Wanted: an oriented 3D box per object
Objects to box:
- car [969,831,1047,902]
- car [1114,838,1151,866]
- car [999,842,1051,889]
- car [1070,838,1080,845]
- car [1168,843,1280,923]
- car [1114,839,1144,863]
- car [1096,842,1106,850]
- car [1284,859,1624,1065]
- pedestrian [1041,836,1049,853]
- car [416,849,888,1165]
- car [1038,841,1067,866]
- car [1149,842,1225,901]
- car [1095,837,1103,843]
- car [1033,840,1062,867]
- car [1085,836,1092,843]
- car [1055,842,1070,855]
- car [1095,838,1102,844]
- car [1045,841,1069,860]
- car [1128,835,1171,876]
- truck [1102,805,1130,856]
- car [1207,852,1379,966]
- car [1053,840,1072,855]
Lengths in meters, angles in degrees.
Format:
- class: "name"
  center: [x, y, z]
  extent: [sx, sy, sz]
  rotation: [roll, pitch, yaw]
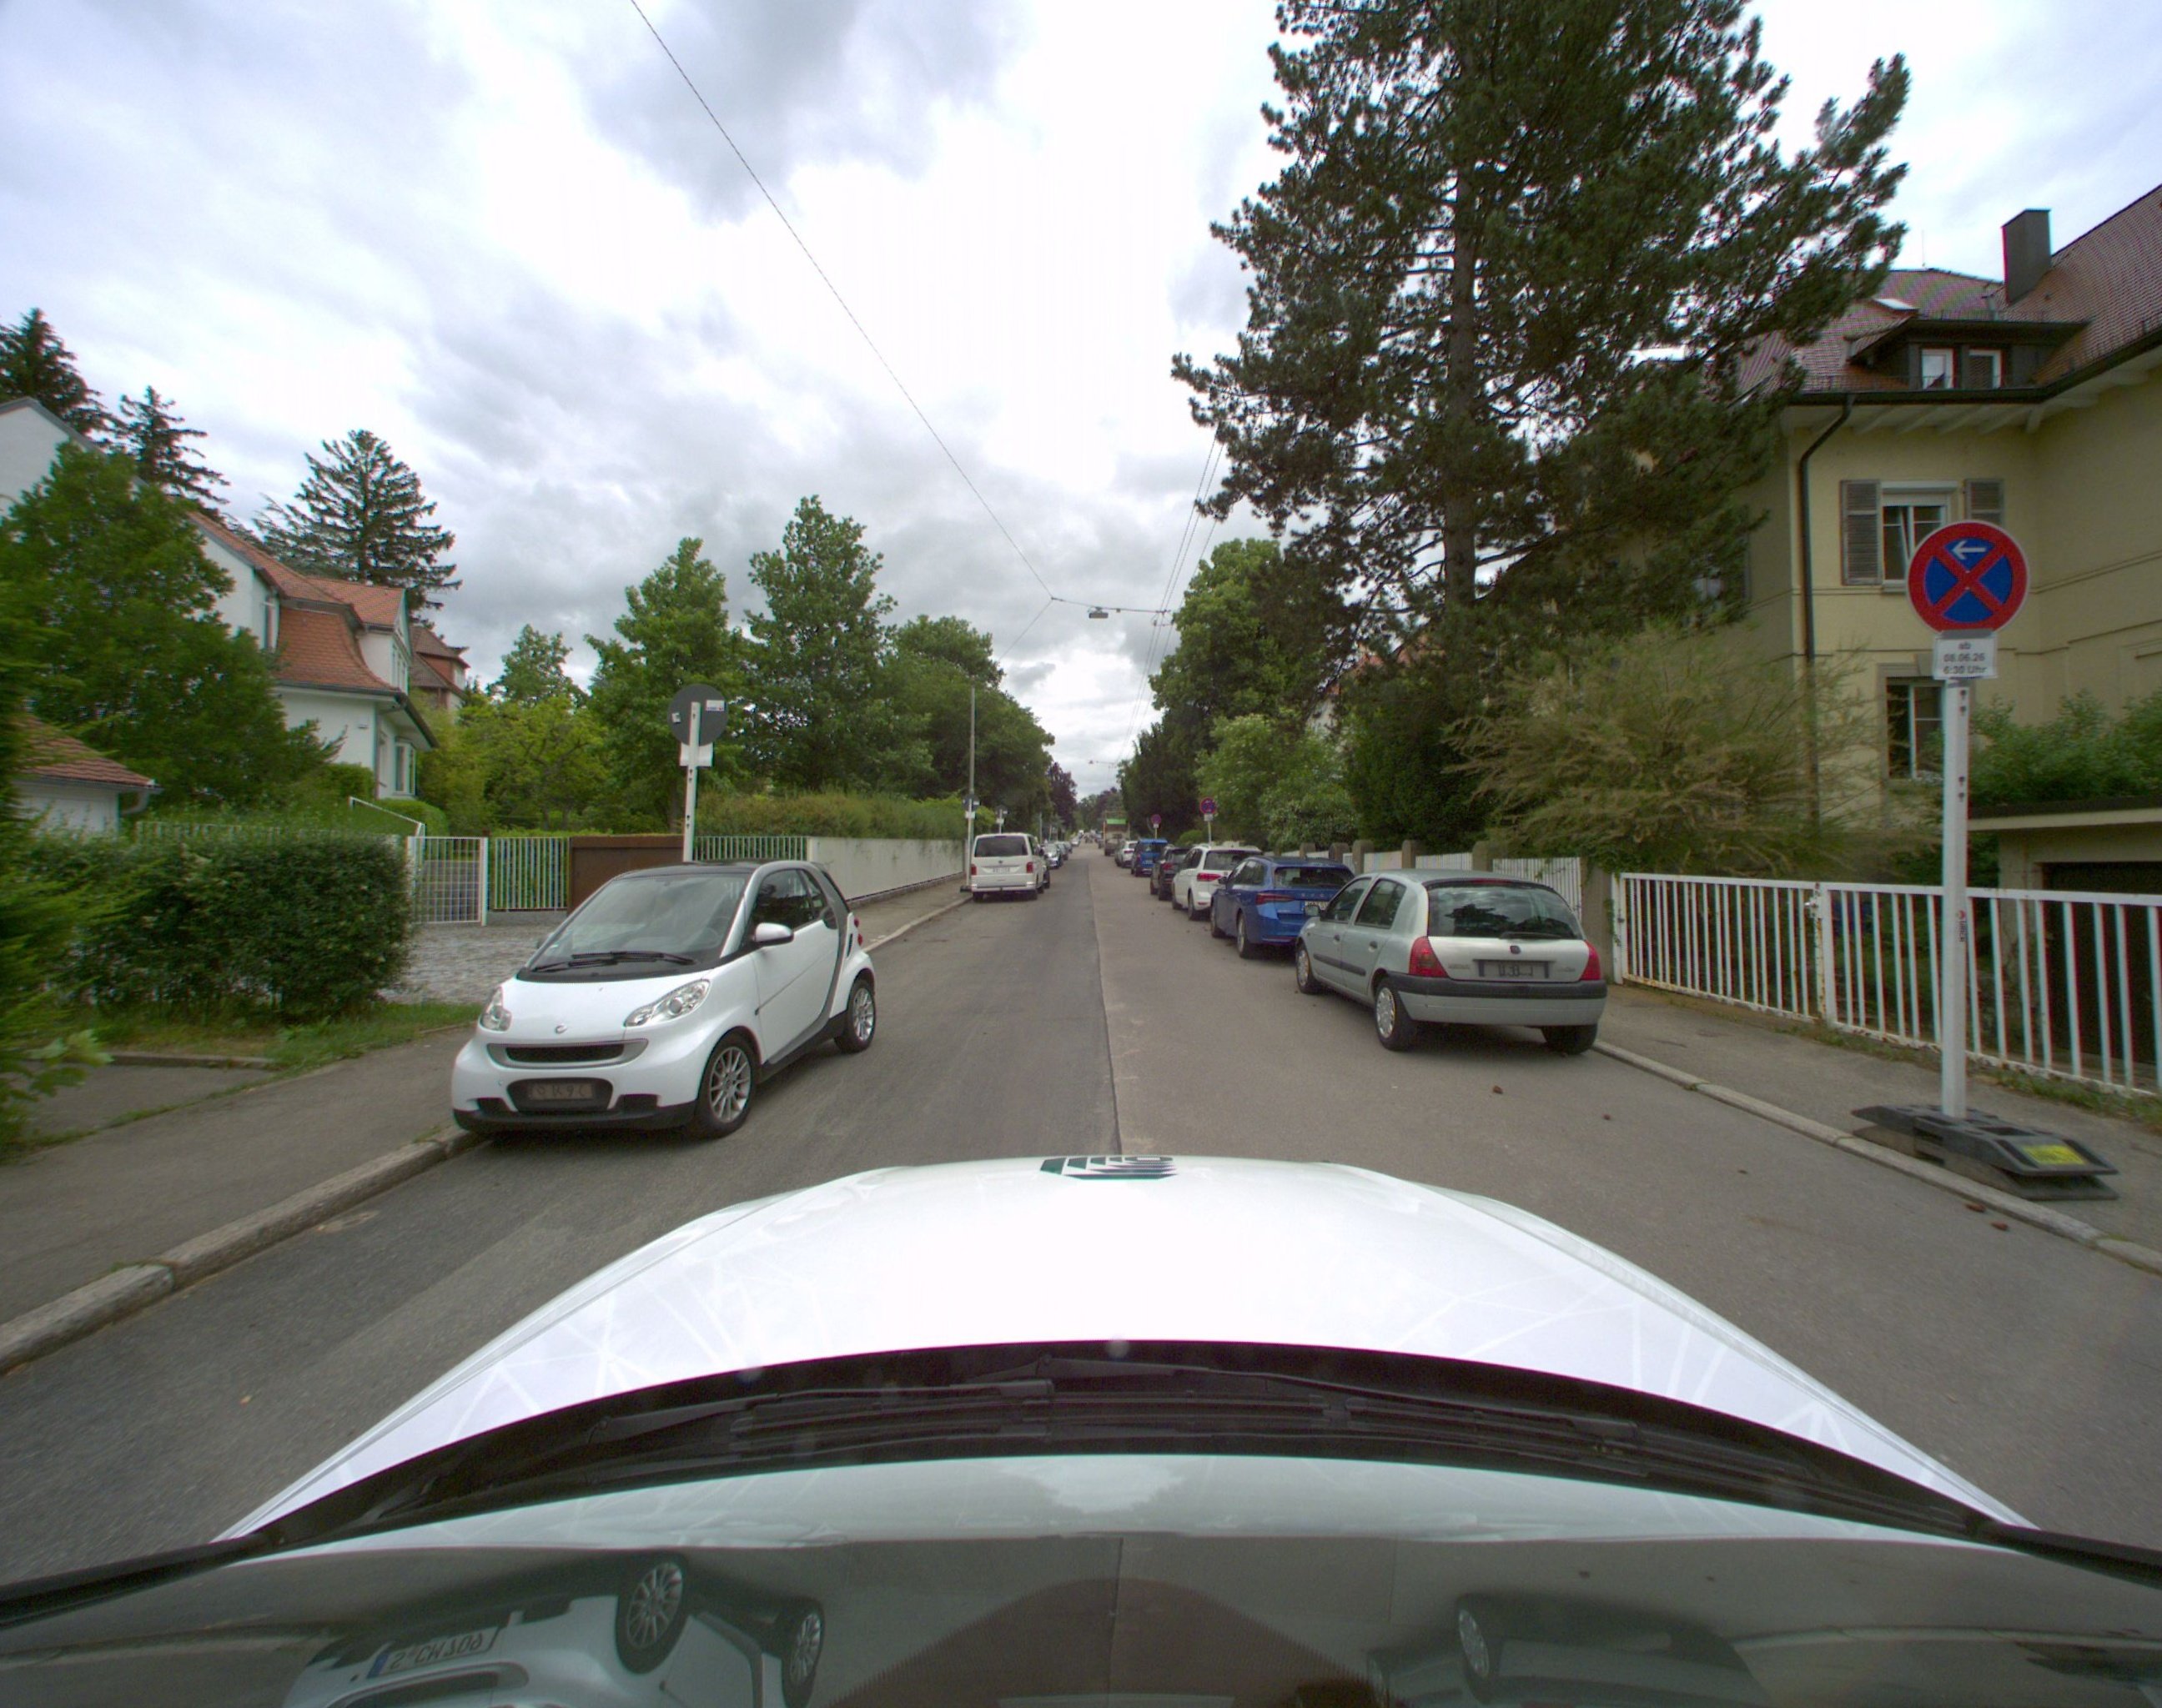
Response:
- class: "car"
  center: [-2.148, 0.327, 25.090]
  extent: [1.848, 1.913, 4.619]
  rotation: [-2, 0, 1]
- class: "car"
  center: [3.142, -0.144, 50.292]
  extent: [1.753, 1.606, 4.570]
  rotation: [1, 1, -3]
- class: "car"
  center: [-2.070, 0.374, 31.055]
  extent: [1.786, 1.623, 4.340]
  rotation: [-1, 1, -2]
- class: "car"
  center: [-1.269, -2.616, 170.749]
  extent: [1.704, 1.586, 4.004]
  rotation: [0, 1, 3]
- class: "car"
  center: [3.196, 0.578, 19.050]
  extent: [1.780, 1.603, 4.303]
  rotation: [2, 1, -1]
- class: "car"
  center: [3.272, -0.256, 56.169]
  extent: [1.693, 1.570, 4.306]
  rotation: [-1, 1, -1]
- class: "car"
  center: [3.676, -1.504, 150.482]
  extent: [1.773, 1.489, 3.999]
  rotation: [0, 1, -1]
- class: "car"
  center: [3.159, 0.791, 7.724]
  extent: [1.568, 1.400, 3.656]
  rotation: [1, 0, 1]
- class: "pedestrian"
  center: [-4.418, -1.194, 100.391]
  extent: [0.850, 2.013, 0.699]
  rotation: [2, 0, -5]
- class: "car"
  center: [-2.557, 0.796, 5.573]
  extent: [1.435, 1.552, 2.775]
  rotation: [-3, 0, 7]
- class: "car"
  center: [-1.860, -0.069, 54.124]
  extent: [1.649, 1.481, 3.889]
  rotation: [-3, 1, 1]
- class: "car"
  center: [3.132, 0.482, 24.805]
  extent: [1.744, 1.608, 4.075]
  rotation: [2, 0, 0]
- class: "car"
  center: [4.322, -3.280, 194.188]
  extent: [1.805, 1.335, 3.632]
  rotation: [1, 2, -1]
- class: "car"
  center: [-2.033, -0.035, 49.359]
  extent: [1.618, 1.533, 2.959]
  rotation: [-2, 1, -3]
- class: "car"
  center: [1.879, -3.453, 194.271]
  extent: [1.629, 1.701, 3.494]
  rotation: [0, 1, 0]
- class: "car"
  center: [-2.098, -0.650, 94.167]
  extent: [1.632, 1.395, 3.987]
  rotation: [-2, 1, -1]
- class: "car"
  center: [4.327, -3.250, 203.090]
  extent: [1.783, 1.529, 3.736]
  rotation: [0, 1, 2]
- class: "car"
  center: [-1.936, -0.307, 67.092]
  extent: [1.634, 1.422, 4.552]
  rotation: [-2, 1, 2]
- class: "car"
  center: [3.265, 0.044, 39.330]
  extent: [1.677, 1.829, 4.156]
  rotation: [2, 1, 0]
- class: "truck"
  center: [3.400, -2.298, 80.940]
  extent: [2.515, 4.748, 7.189]
  rotation: [1, 1, 1]
- class: "car"
  center: [3.094, 0.722, 12.693]
  extent: [1.642, 1.458, 4.052]
  rotation: [1, 0, 1]
- class: "car"
  center: [-1.752, -0.664, 79.387]
  extent: [1.590, 1.433, 4.001]
  rotation: [-2, 1, 1]
